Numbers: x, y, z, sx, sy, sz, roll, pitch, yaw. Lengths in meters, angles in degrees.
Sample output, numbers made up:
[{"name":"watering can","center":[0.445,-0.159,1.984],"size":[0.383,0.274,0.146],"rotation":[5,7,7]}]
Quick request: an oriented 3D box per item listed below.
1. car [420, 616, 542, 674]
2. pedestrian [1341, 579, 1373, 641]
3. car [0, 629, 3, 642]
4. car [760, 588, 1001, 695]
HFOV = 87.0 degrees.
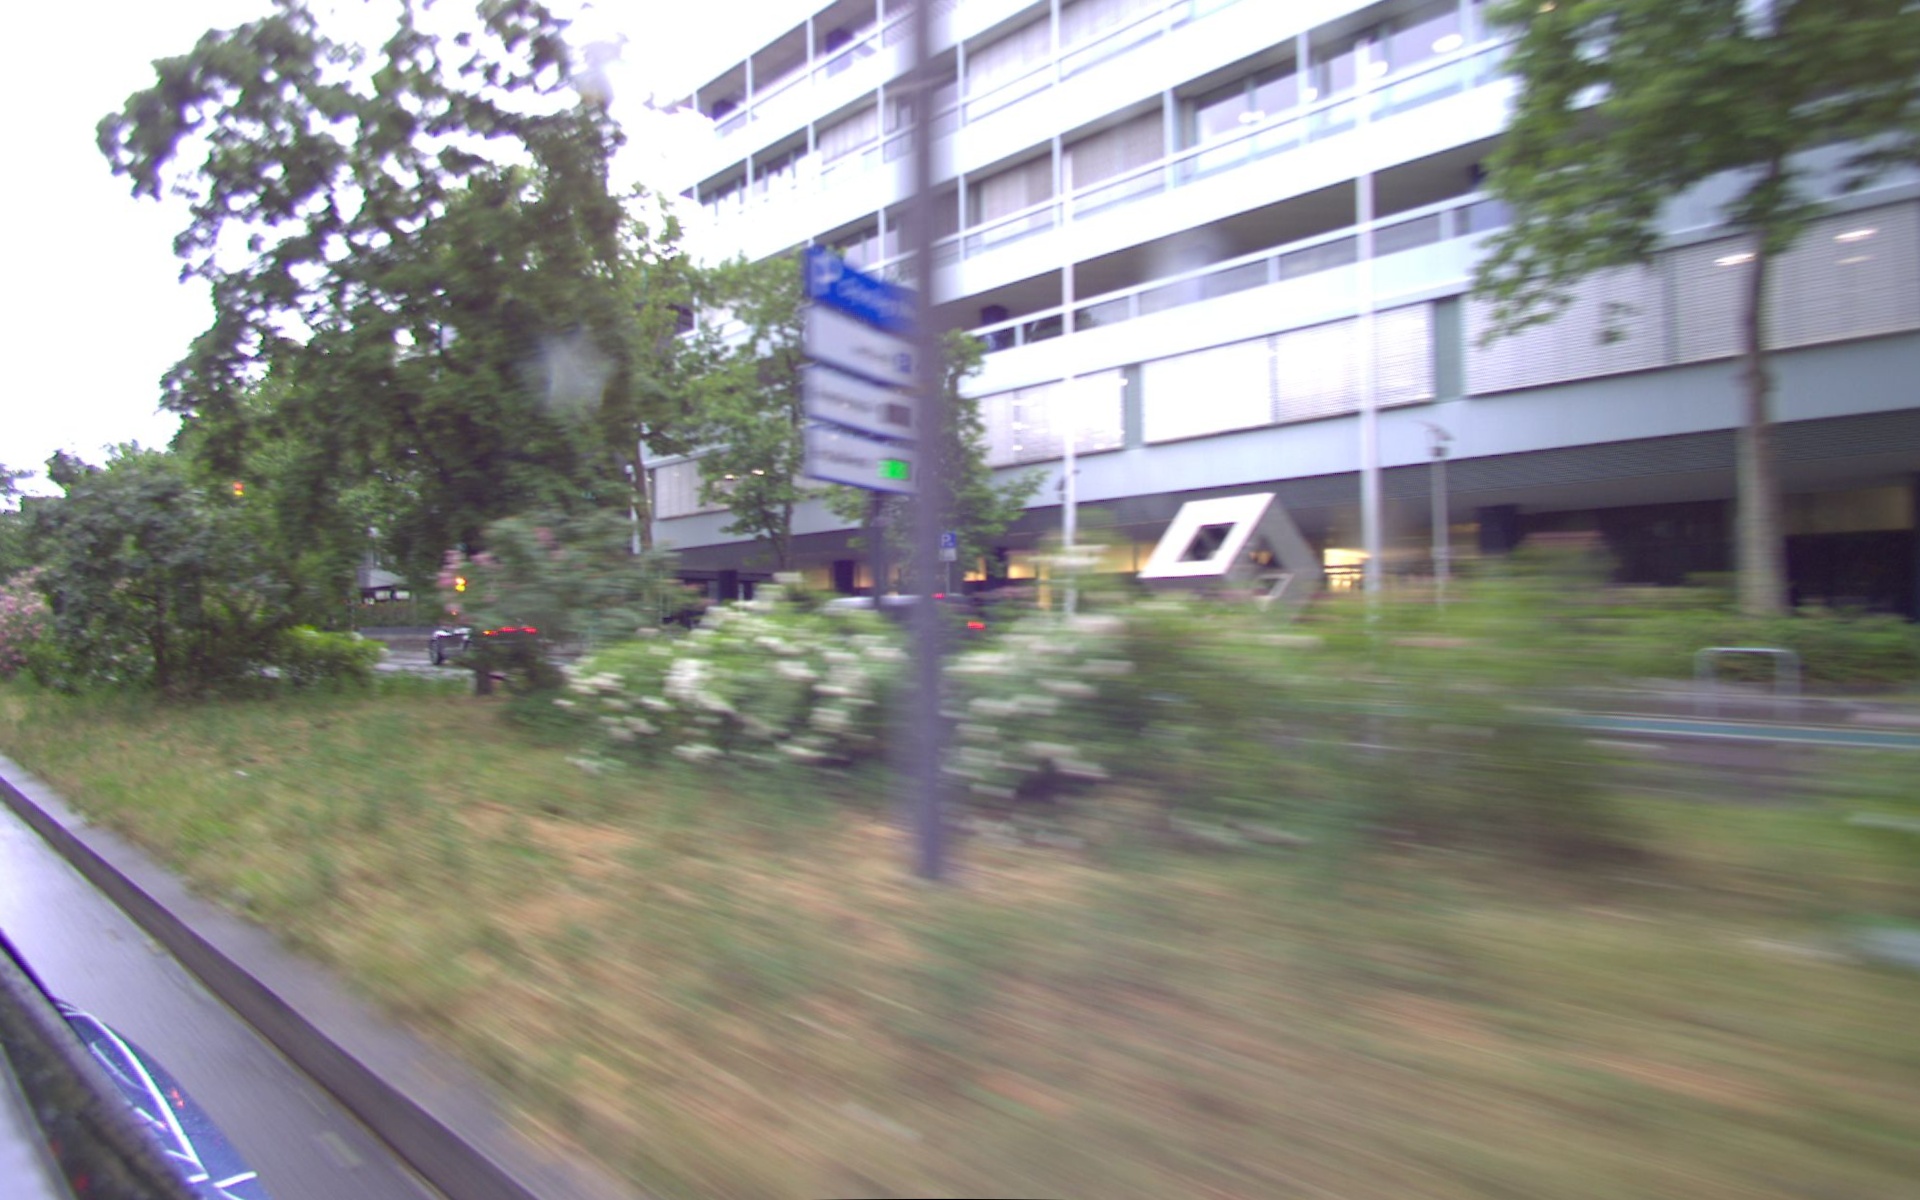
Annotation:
[{"name":"car","center":[-14.923,1.325,31.386],"size":[4.748,1.596,1.888],"rotation":[-1,1,45]},{"name":"pedestrian","center":[9.786,0.237,24.969],"size":[0.574,1.493,0.604],"rotation":[-1,0,38]},{"name":"car","center":[-114.740,4.213,119.663],"size":[3.725,1.586,1.759],"rotation":[-1,1,39]},{"name":"car","center":[-1.621,0.745,19.286],"size":[4.674,1.769,1.893],"rotation":[-2,0,43]}]
